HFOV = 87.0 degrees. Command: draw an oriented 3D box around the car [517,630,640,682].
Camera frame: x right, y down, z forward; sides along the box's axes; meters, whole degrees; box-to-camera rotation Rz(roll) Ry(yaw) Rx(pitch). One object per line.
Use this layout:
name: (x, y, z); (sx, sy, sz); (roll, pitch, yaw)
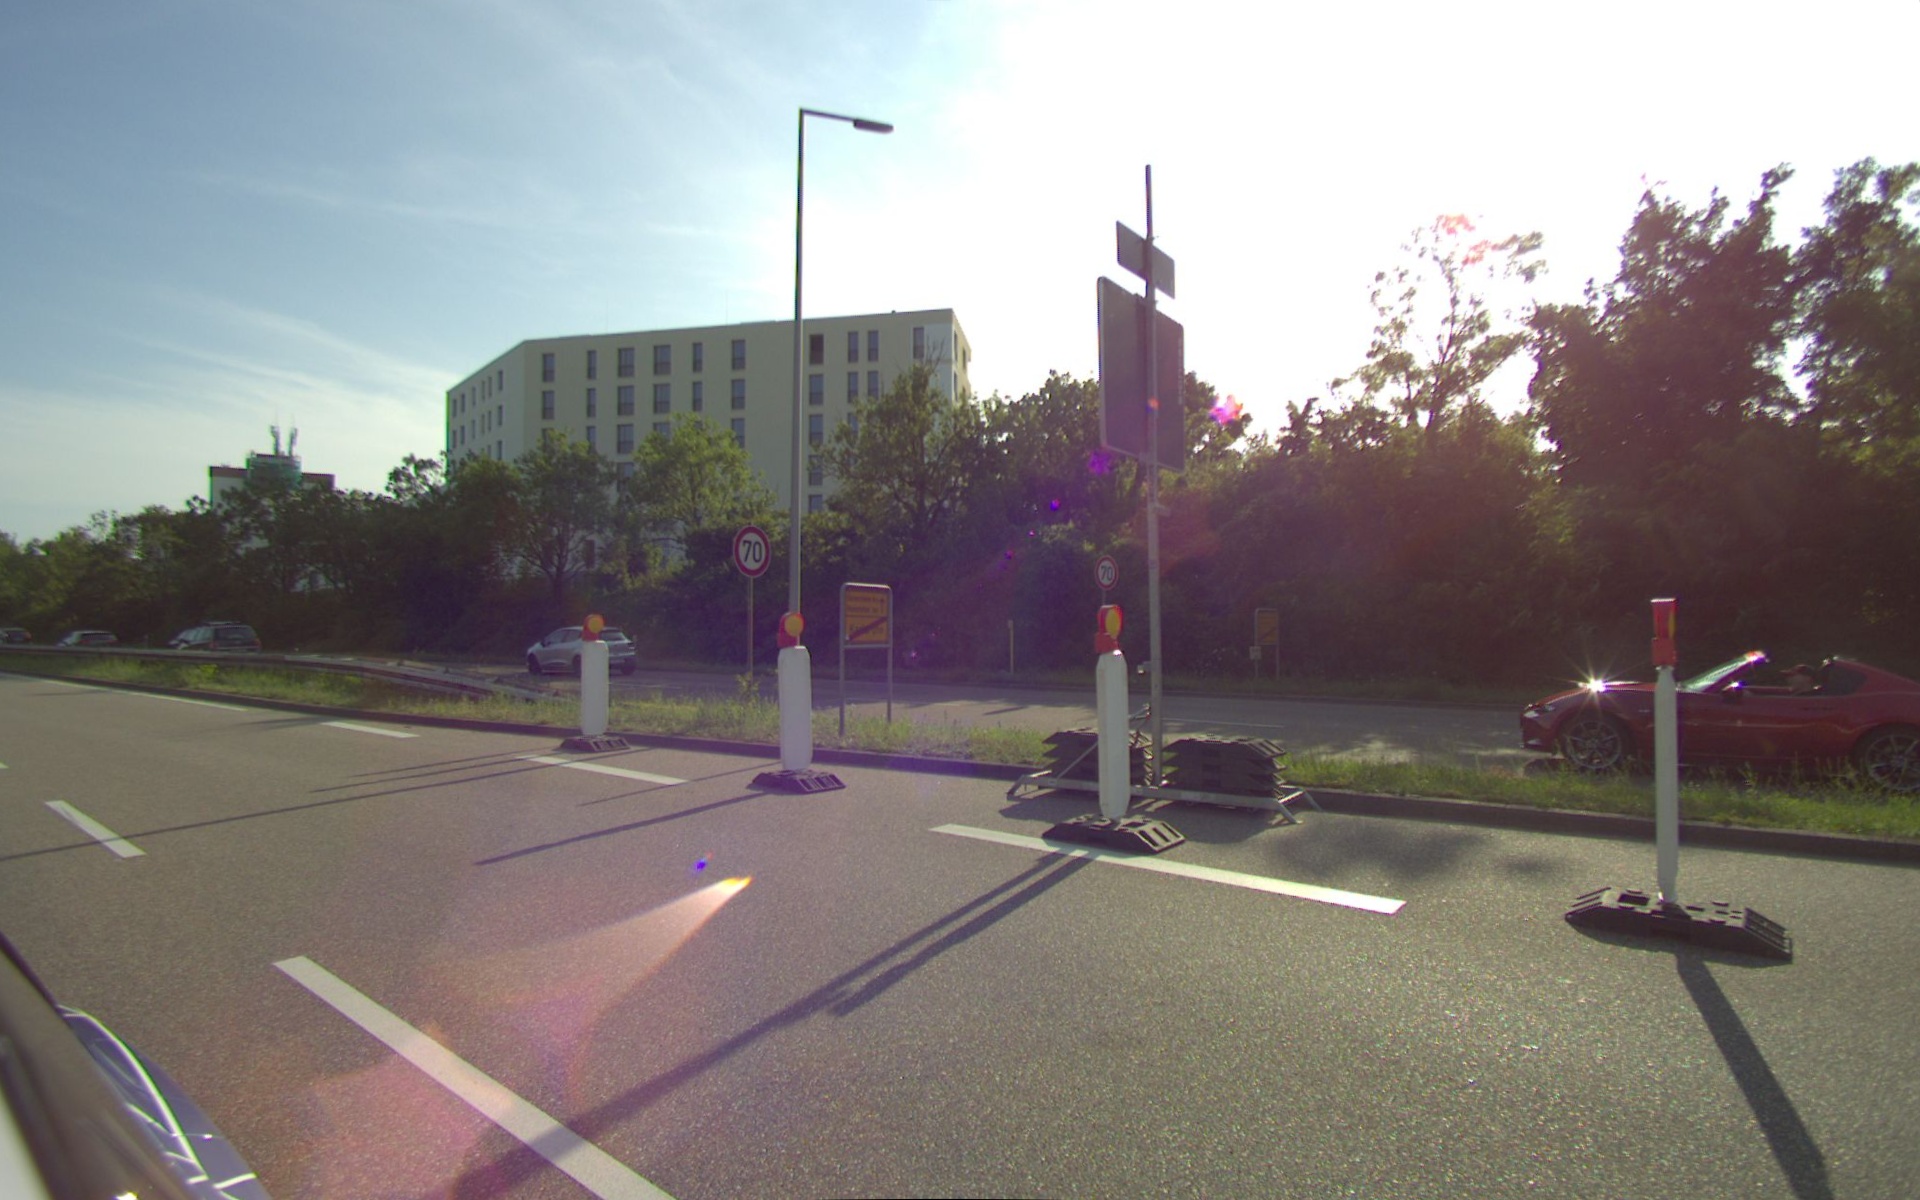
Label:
car: (-11.315, 1.608, 29.901); (4.060, 1.386, 1.623); (-2, -1, 40)

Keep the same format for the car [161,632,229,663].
car: (-37.785, 2.318, 49.972); (3.932, 1.452, 1.653); (-2, 0, 37)

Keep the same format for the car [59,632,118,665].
car: (-41.792, 2.291, 48.499); (3.232, 1.452, 1.587); (-2, 0, 39)

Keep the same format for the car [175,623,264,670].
car: (-27.580, 1.708, 37.680); (3.518, 1.623, 1.715); (-2, 0, 37)

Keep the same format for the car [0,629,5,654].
car: (-57.618, 2.448, 59.543); (3.231, 1.453, 1.588); (-2, 0, 38)

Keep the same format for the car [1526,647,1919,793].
car: (7.719, 1.077, 9.859); (3.667, 1.166, 1.497); (-2, -1, 38)

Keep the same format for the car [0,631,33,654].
car: (-64.805, 2.913, 69.212); (3.231, 1.453, 1.588); (-2, 0, 38)
